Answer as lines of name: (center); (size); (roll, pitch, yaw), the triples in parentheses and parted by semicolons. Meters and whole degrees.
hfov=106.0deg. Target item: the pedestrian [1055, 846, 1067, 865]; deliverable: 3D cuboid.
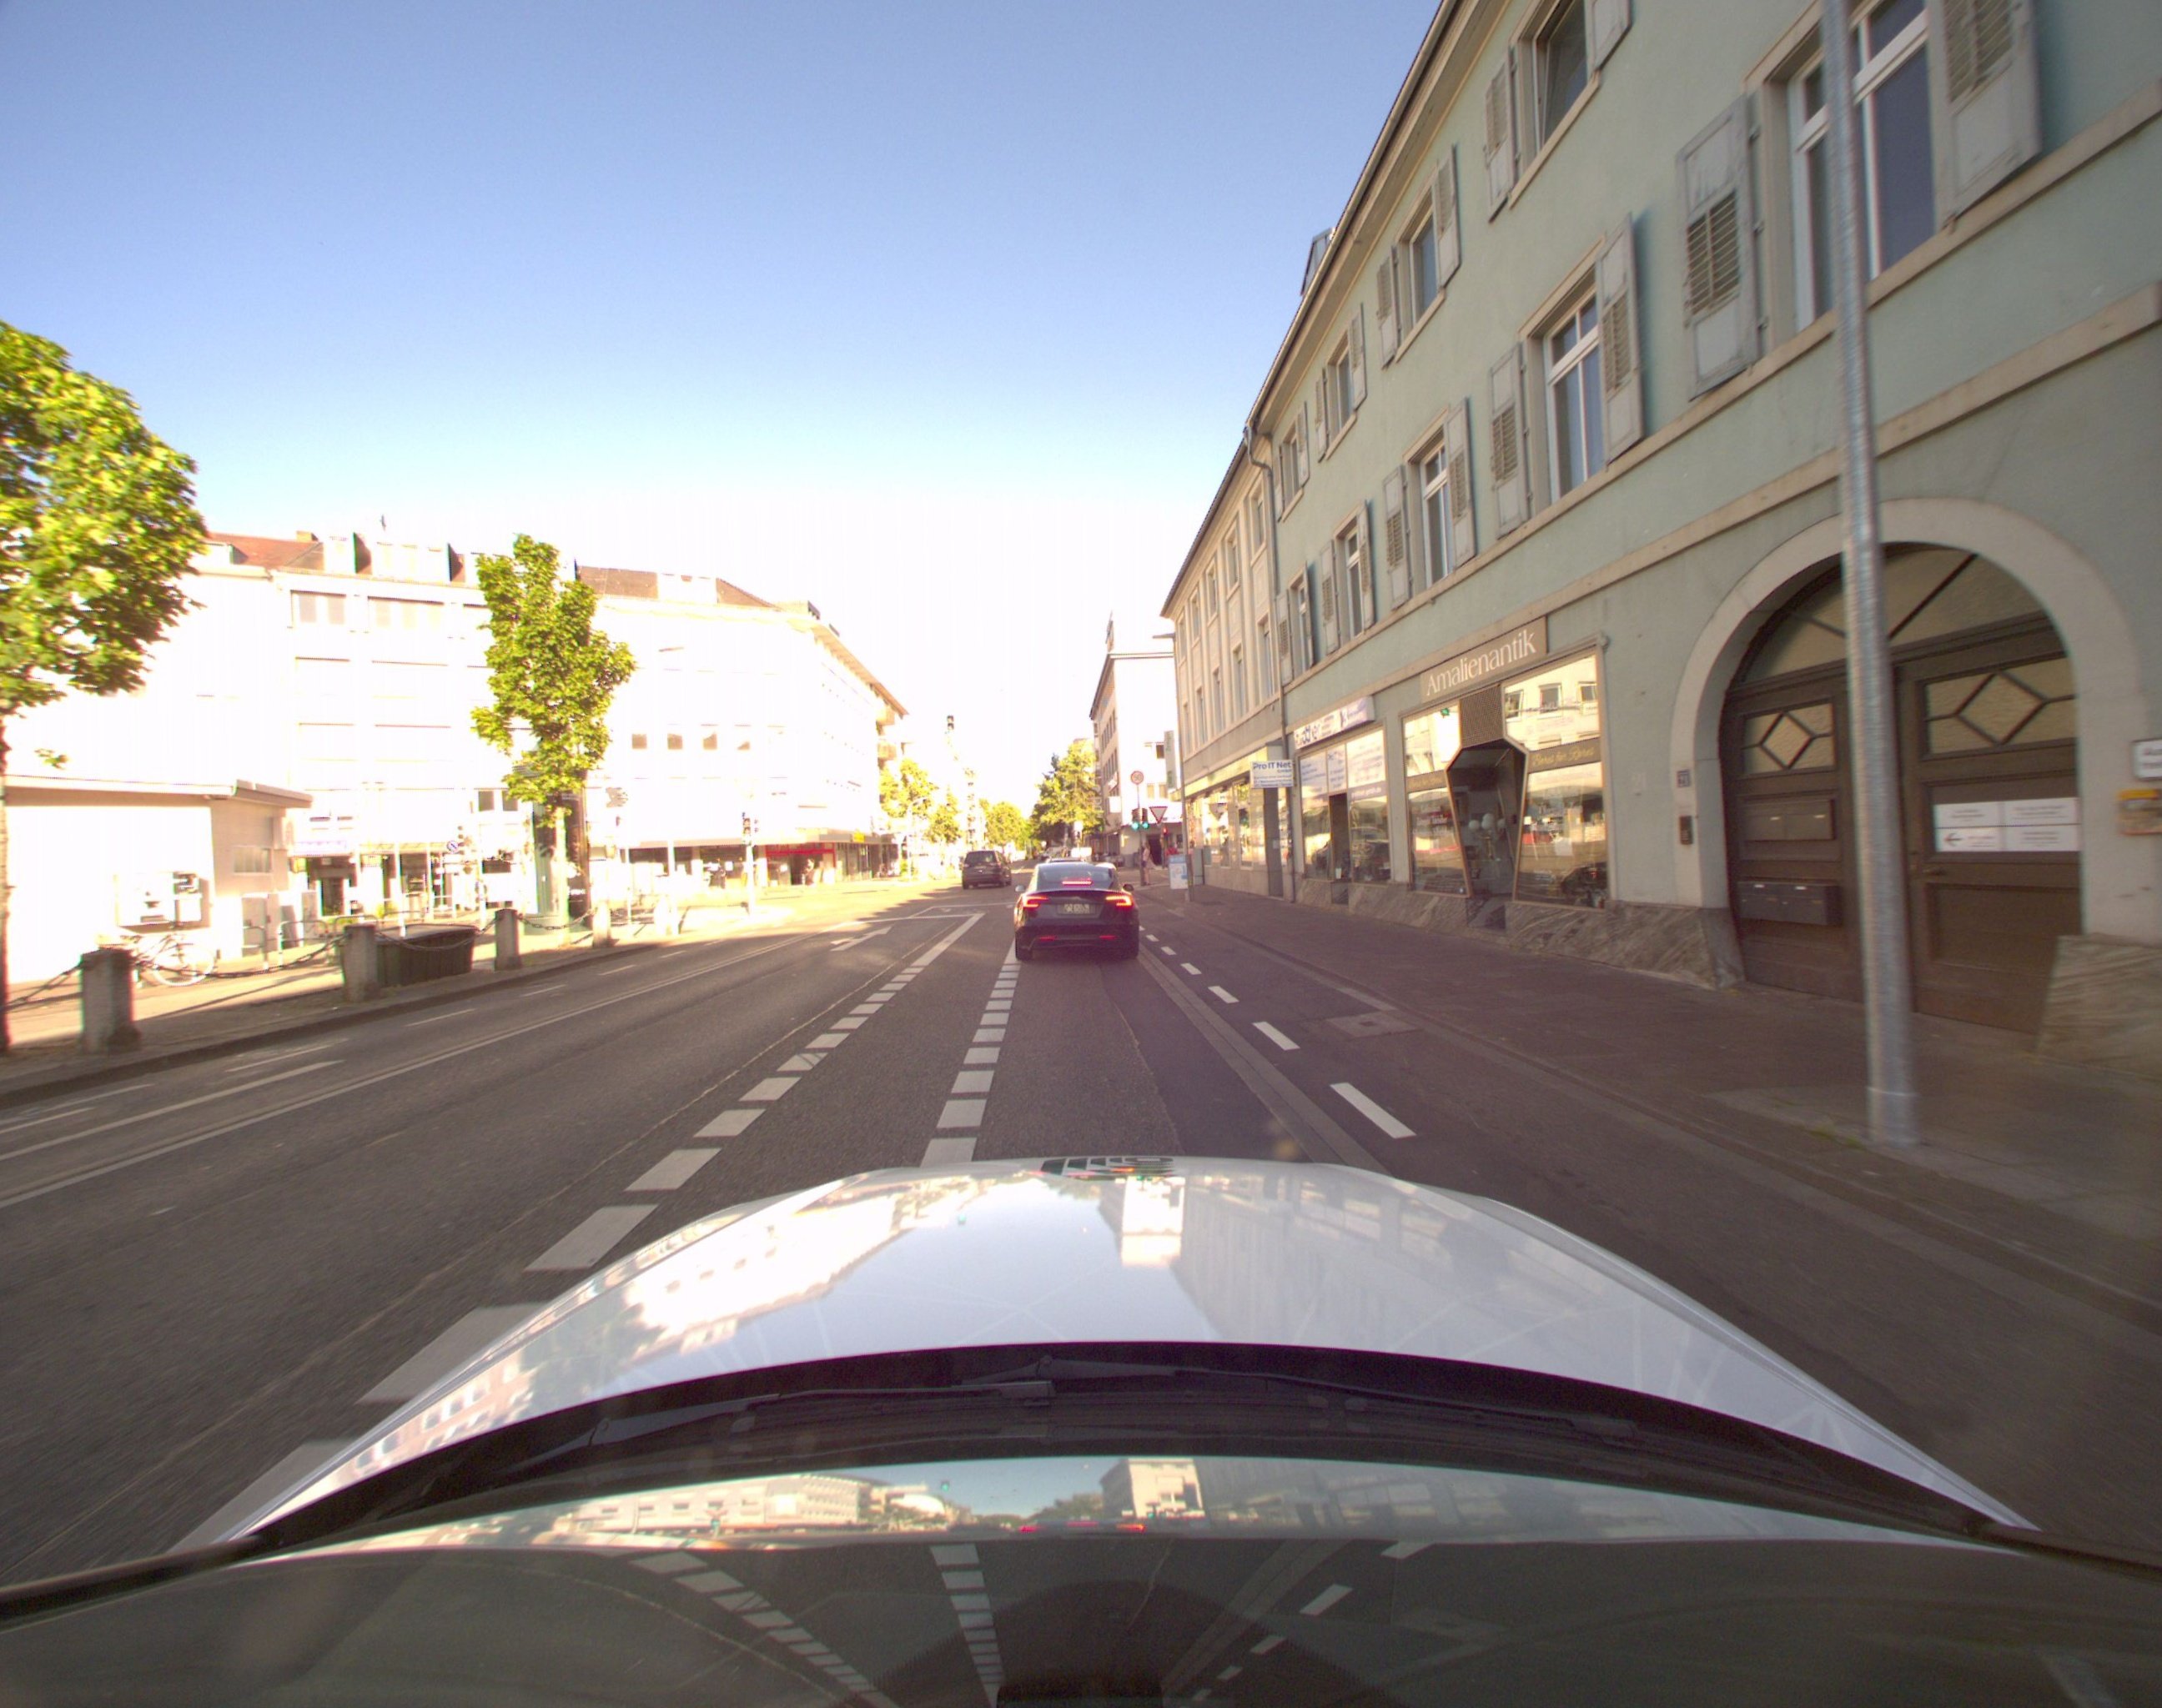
pedestrian: (-2.097, 0.133, 86.257); (0.951, 1.915, 1.109); (-3, 0, 13)

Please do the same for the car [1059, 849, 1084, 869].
car: (-0.865, 0.409, 69.848); (1.996, 1.636, 4.284); (-3, 0, -2)

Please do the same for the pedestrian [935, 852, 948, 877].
pedestrian: (-9.953, 0.756, 58.172); (0.792, 1.712, 0.650); (-2, 0, -18)

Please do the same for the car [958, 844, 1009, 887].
car: (-4.411, 0.486, 37.384); (1.899, 1.733, 4.284); (-3, 0, -2)

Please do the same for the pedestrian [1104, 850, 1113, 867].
pedestrian: (2.202, 0.368, 64.333); (0.585, 1.313, 0.560); (-3, 0, -3)

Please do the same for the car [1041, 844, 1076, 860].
car: (-3.627, -0.312, 131.459); (5.381, 2.145, 1.997); (-4, 0, -4)

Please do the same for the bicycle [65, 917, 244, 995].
bicycle: (-15.104, 1.644, 13.317); (1.983, 1.088, 0.753); (-2, 0, -1)

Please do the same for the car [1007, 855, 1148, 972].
car: (-0.101, 0.818, 13.354); (1.865, 1.427, 4.362); (-3, 1, -2)

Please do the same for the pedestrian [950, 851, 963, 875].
pedestrian: (-9.052, 0.634, 59.342); (0.780, 1.728, 0.556); (-2, 0, -17)

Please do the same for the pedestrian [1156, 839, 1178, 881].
pedestrian: (3.623, 0.233, 34.474); (0.688, 1.703, 0.912); (-4, 0, -1)

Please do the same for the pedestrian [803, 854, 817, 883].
pedestrian: (-16.391, 0.887, 49.303); (0.558, 1.709, 0.711); (-4, 0, -5)

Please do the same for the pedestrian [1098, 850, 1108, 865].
pedestrian: (1.967, 0.325, 73.822); (0.729, 1.347, 1.058); (-3, 0, -5)

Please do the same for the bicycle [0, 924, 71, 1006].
bicycle: (-15.068, 1.527, 11.023); (1.999, 1.002, 0.891); (-3, 0, 11)

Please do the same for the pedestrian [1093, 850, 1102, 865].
pedestrian: (1.521, 0.342, 74.908); (0.708, 1.347, 1.058); (-3, 0, -6)

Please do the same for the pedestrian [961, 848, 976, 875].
pedestrian: (-8.224, 0.541, 59.486); (0.780, 1.866, 0.996); (-6, 1, -17)

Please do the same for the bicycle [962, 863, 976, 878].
bicycle: (-8.158, 1.180, 59.454); (0.759, 1.007, 1.717); (-6, 1, -14)

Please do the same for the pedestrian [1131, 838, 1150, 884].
pedestrian: (2.447, 0.275, 33.589); (0.638, 1.842, 0.681); (-3, 0, -3)

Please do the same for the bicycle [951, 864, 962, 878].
bicycle: (-9.061, 1.204, 59.244); (0.553, 0.968, 1.786); (-3, 0, -14)

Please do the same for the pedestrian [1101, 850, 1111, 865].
pedestrian: (2.293, 0.294, 75.109); (0.729, 1.360, 0.957); (-3, 0, -3)

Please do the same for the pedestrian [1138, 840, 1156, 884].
pedestrian: (2.670, 0.325, 33.098); (0.571, 1.759, 0.649); (-2, 0, -3)

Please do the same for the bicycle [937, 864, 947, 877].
bicycle: (-9.981, 1.179, 58.493); (0.481, 0.955, 1.447); (-3, 0, -16)

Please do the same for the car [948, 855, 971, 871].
car: (-13.752, 0.992, 92.342); (1.988, 1.598, 3.998); (-2, 0, -1)

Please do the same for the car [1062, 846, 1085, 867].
car: (-0.732, 0.210, 76.287); (1.899, 1.852, 4.284); (-3, 0, -2)

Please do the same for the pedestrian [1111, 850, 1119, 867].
pedestrian: (2.721, 0.335, 65.141); (0.485, 1.322, 0.654); (-3, 0, 5)

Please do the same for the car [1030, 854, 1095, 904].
car: (-0.522, 0.752, 26.596); (1.755, 1.418, 4.357); (-2, 0, 2)
